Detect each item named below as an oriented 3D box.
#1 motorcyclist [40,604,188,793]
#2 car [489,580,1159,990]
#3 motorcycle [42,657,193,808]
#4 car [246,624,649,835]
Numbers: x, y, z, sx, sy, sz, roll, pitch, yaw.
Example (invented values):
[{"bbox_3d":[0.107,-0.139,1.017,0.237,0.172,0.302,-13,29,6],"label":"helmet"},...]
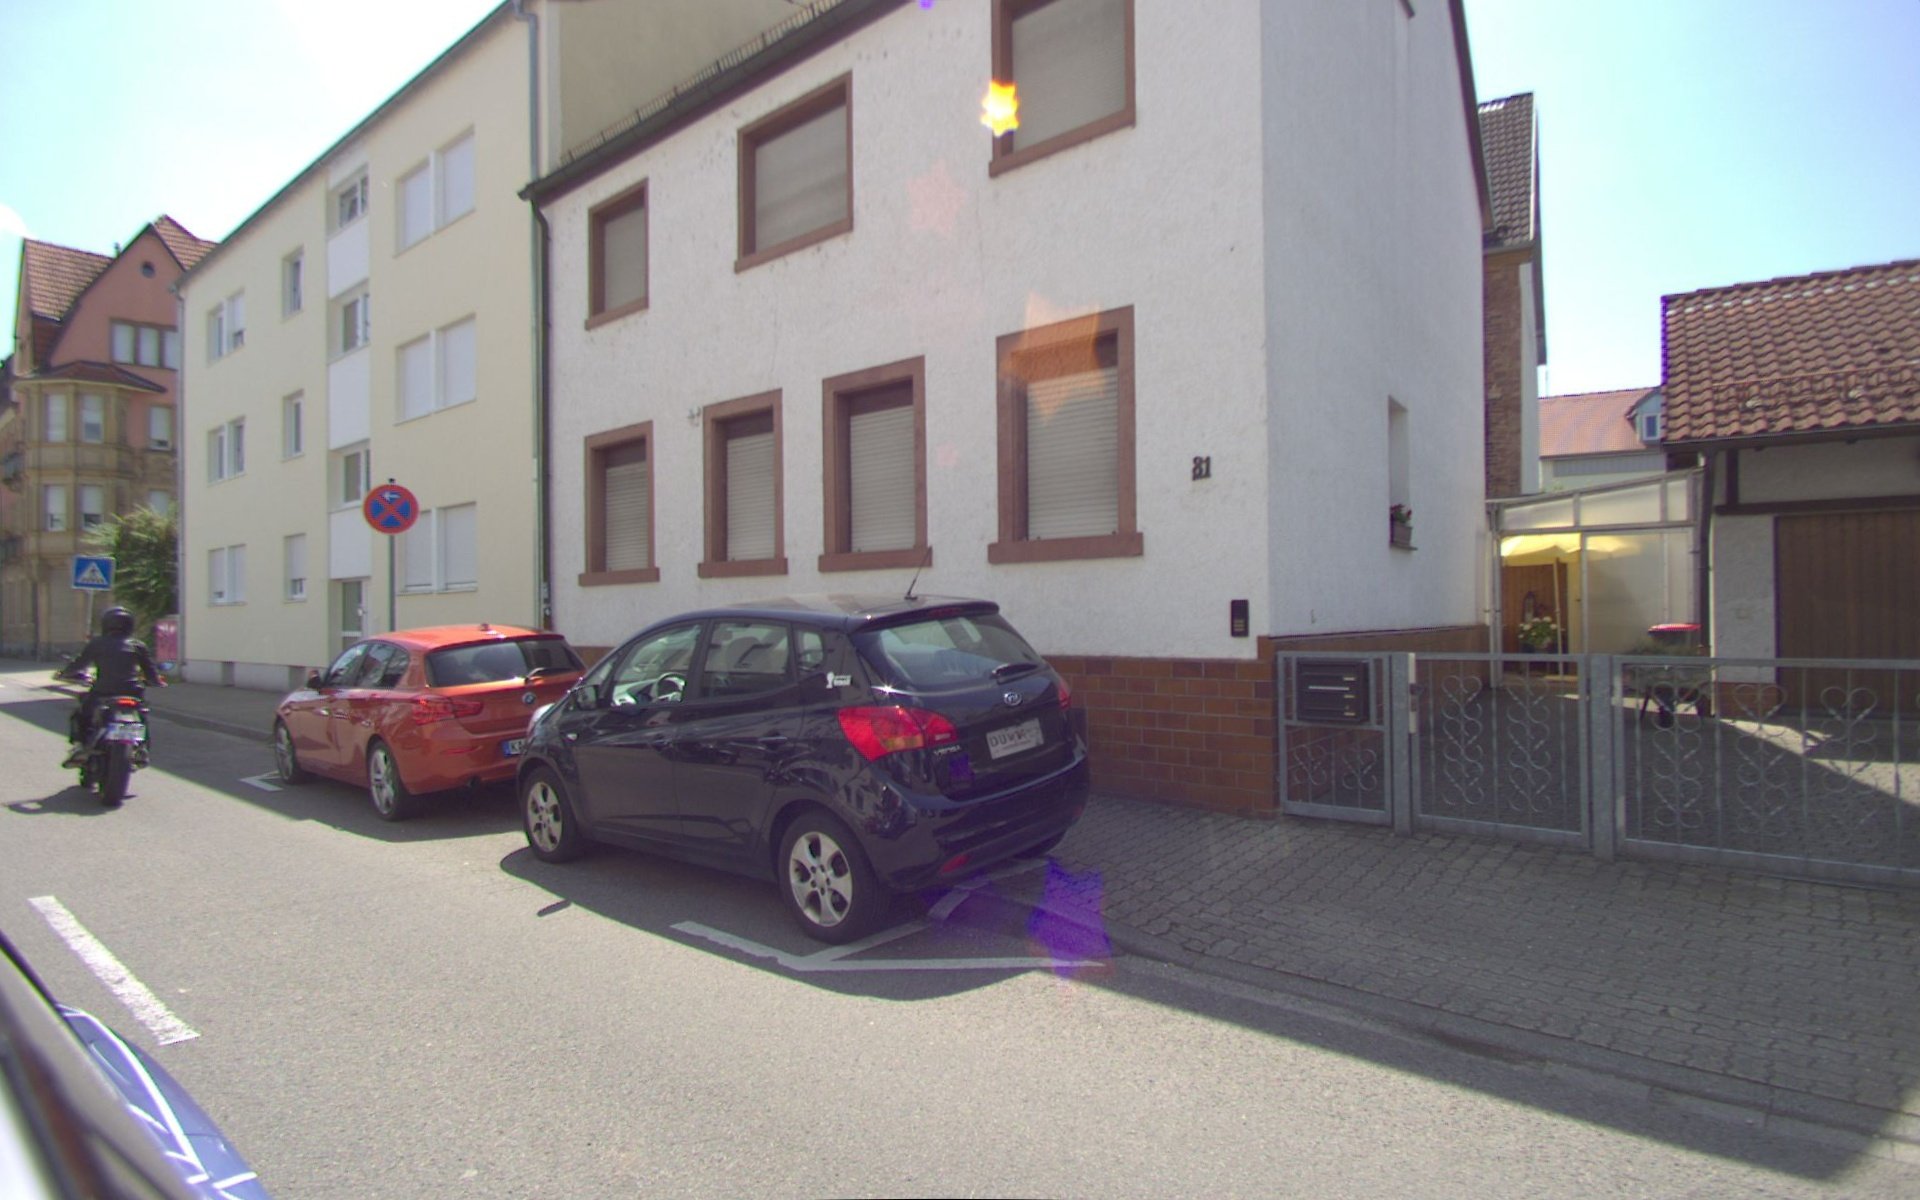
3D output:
[{"bbox_3d":[-7.367,0.808,8.806,1.056,1.520,0.814,-2,-2,40],"label":"motorcyclist"},{"bbox_3d":[-1.009,0.767,6.052,3.942,1.659,1.776,-1,0,40],"label":"car"},{"bbox_3d":[-7.441,1.099,8.902,2.026,1.131,0.681,-2,-2,41],"label":"motorcycle"},{"bbox_3d":[-4.759,0.942,9.102,4.288,1.427,1.814,-1,-1,42],"label":"car"}]
